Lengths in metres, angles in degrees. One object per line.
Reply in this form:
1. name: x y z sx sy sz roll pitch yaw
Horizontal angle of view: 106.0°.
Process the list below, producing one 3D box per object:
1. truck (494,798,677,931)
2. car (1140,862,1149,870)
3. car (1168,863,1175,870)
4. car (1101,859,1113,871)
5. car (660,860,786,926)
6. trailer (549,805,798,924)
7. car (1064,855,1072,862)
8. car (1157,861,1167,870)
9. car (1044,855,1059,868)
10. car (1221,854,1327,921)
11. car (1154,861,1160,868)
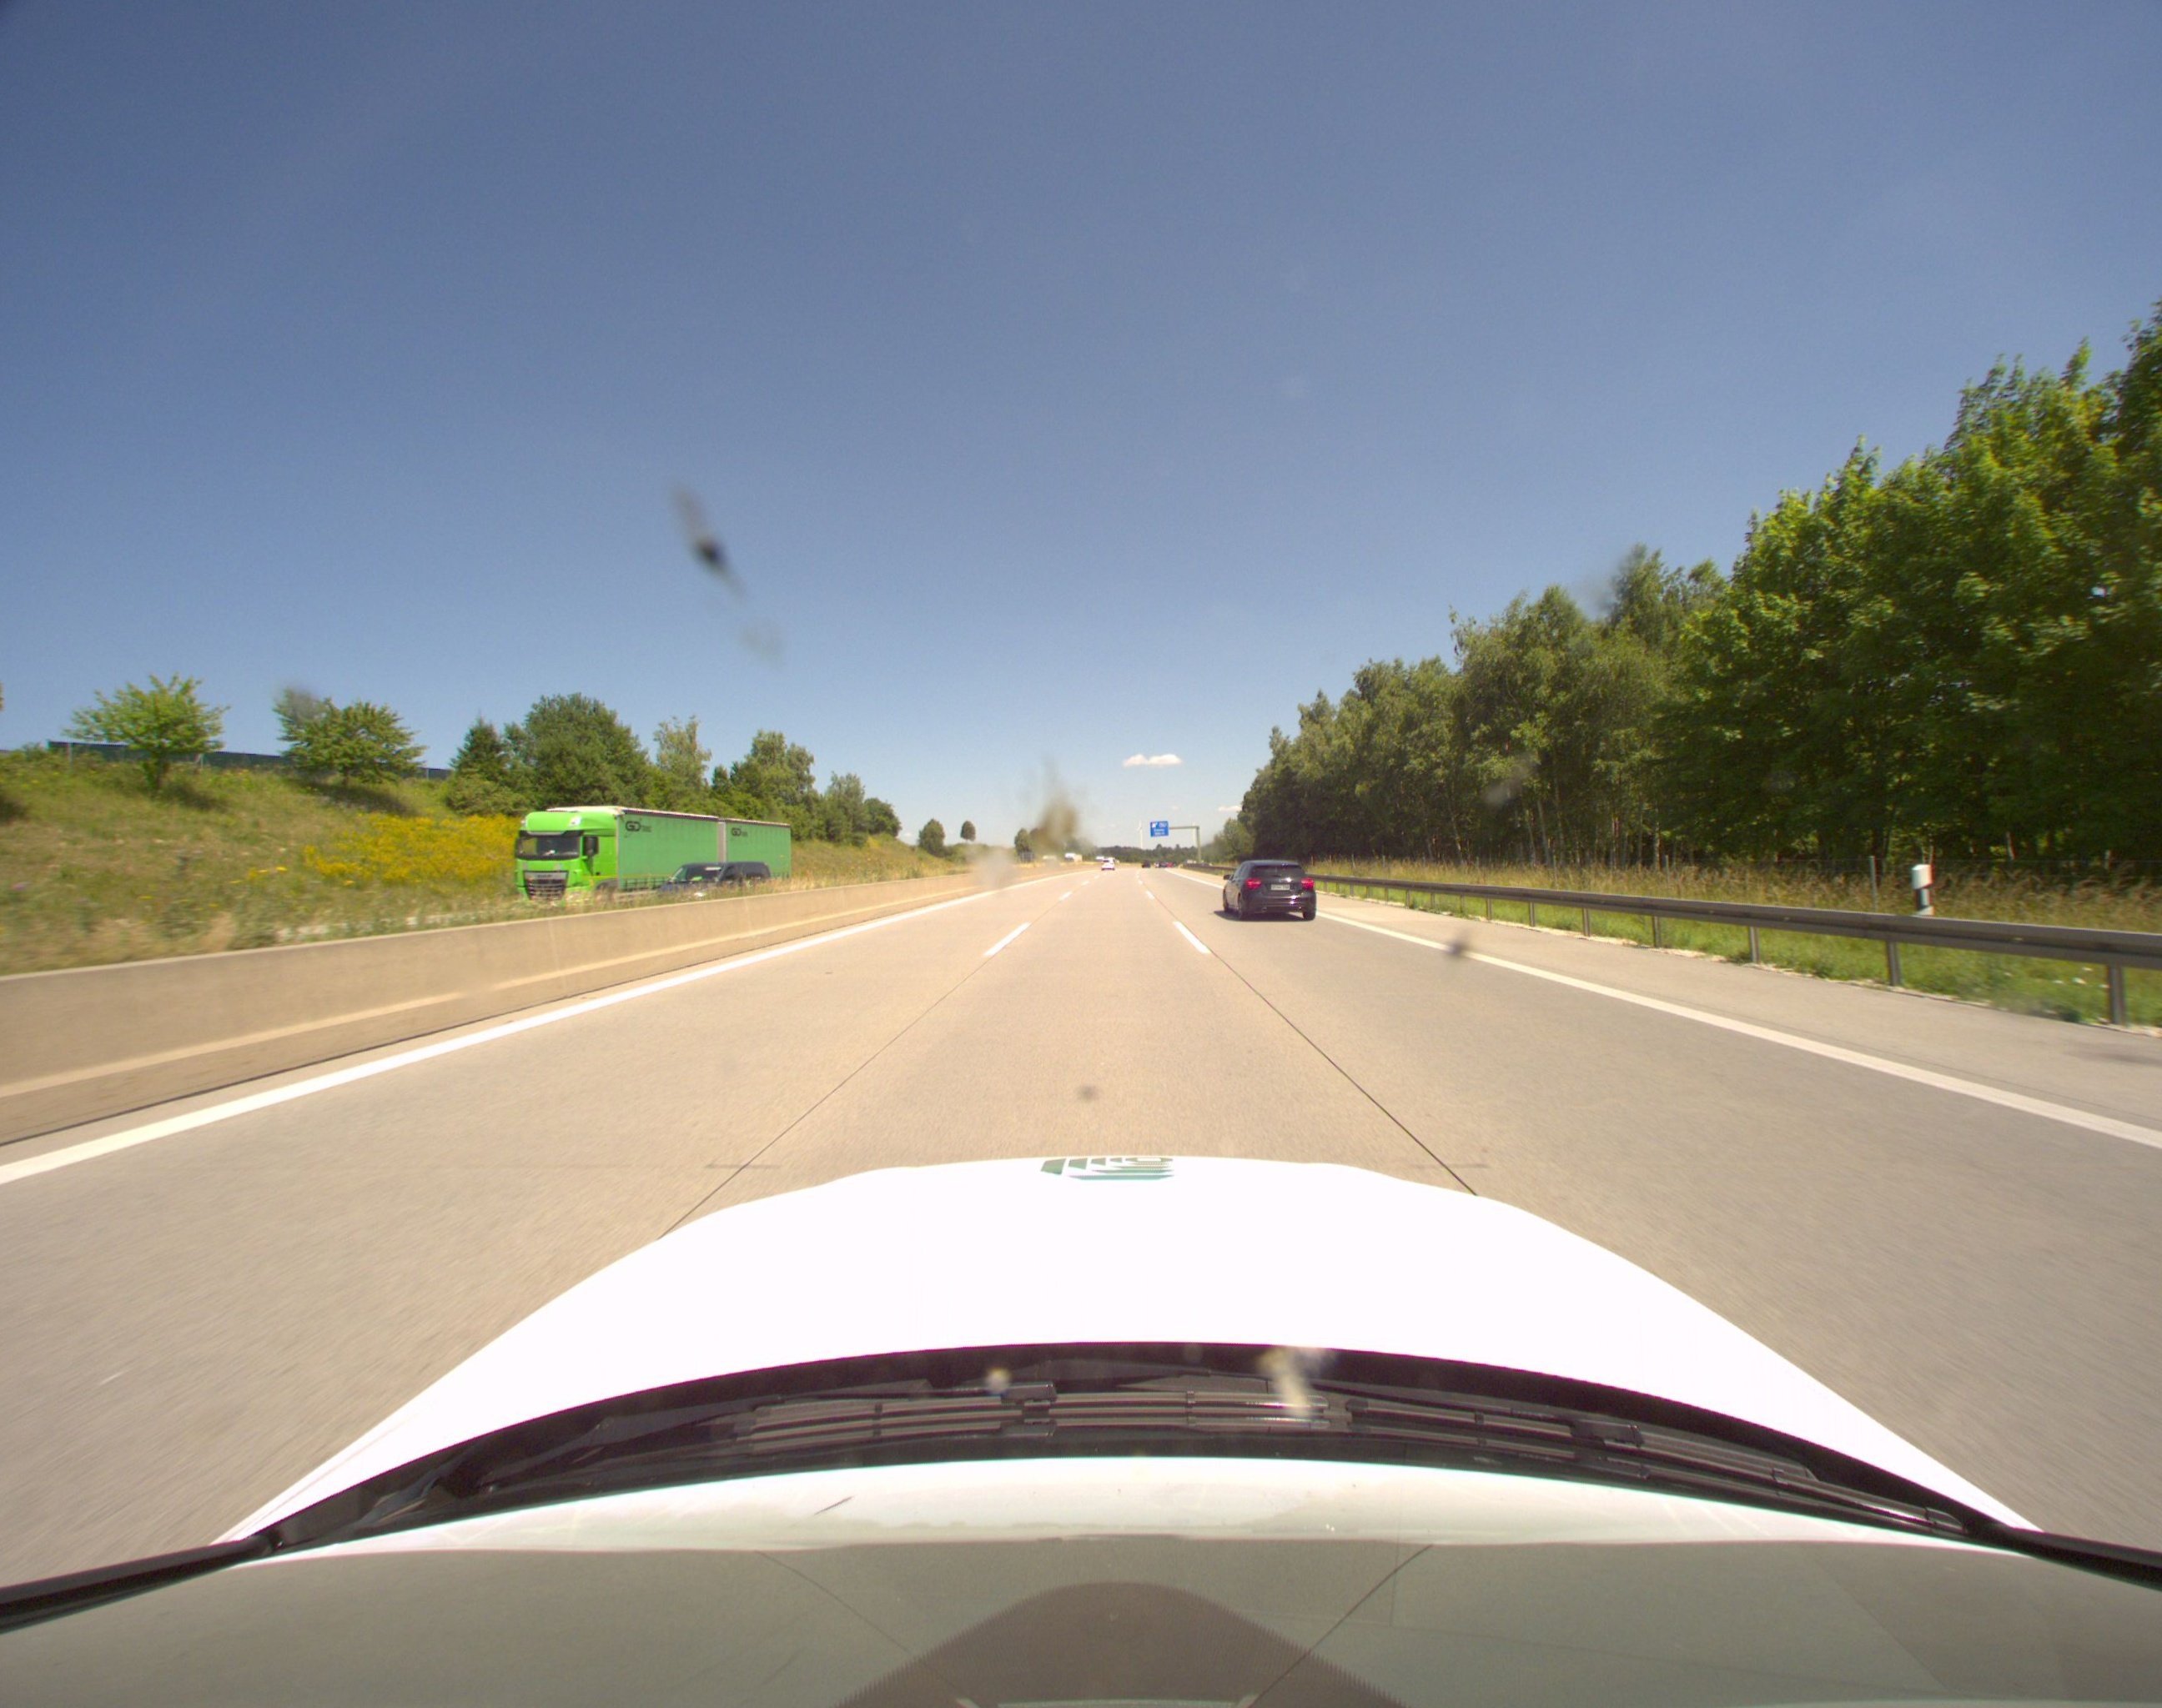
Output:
1. truck: -19.173 0.387 32.075 3.077 4.662 6.270 -1 0 3
2. car: 15.144 2.851 194.292 1.819 1.937 3.812 -1 0 3
3. car: 26.887 3.693 242.983 1.781 1.810 3.747 -1 0 2
4. car: 3.846 1.643 121.400 1.839 1.708 6.037 -1 0 1
5. car: -11.790 1.209 27.216 1.985 2.014 4.546 -1 0 3
6. trailer: -18.777 0.416 40.009 3.143 4.607 16.449 -1 0 3
7. car: -3.428 1.095 214.969 1.855 1.816 4.003 -1 0 3
8. car: 18.083 2.629 182.214 1.820 1.907 4.002 -1 0 2
9. car: -4.644 1.211 128.067 1.985 2.014 4.003 -1 0 3
10. car: 4.739 0.770 20.605 1.902 1.492 4.195 0 0 3
11. car: 23.968 3.384 256.798 1.737 1.990 4.002 -1 0 2
